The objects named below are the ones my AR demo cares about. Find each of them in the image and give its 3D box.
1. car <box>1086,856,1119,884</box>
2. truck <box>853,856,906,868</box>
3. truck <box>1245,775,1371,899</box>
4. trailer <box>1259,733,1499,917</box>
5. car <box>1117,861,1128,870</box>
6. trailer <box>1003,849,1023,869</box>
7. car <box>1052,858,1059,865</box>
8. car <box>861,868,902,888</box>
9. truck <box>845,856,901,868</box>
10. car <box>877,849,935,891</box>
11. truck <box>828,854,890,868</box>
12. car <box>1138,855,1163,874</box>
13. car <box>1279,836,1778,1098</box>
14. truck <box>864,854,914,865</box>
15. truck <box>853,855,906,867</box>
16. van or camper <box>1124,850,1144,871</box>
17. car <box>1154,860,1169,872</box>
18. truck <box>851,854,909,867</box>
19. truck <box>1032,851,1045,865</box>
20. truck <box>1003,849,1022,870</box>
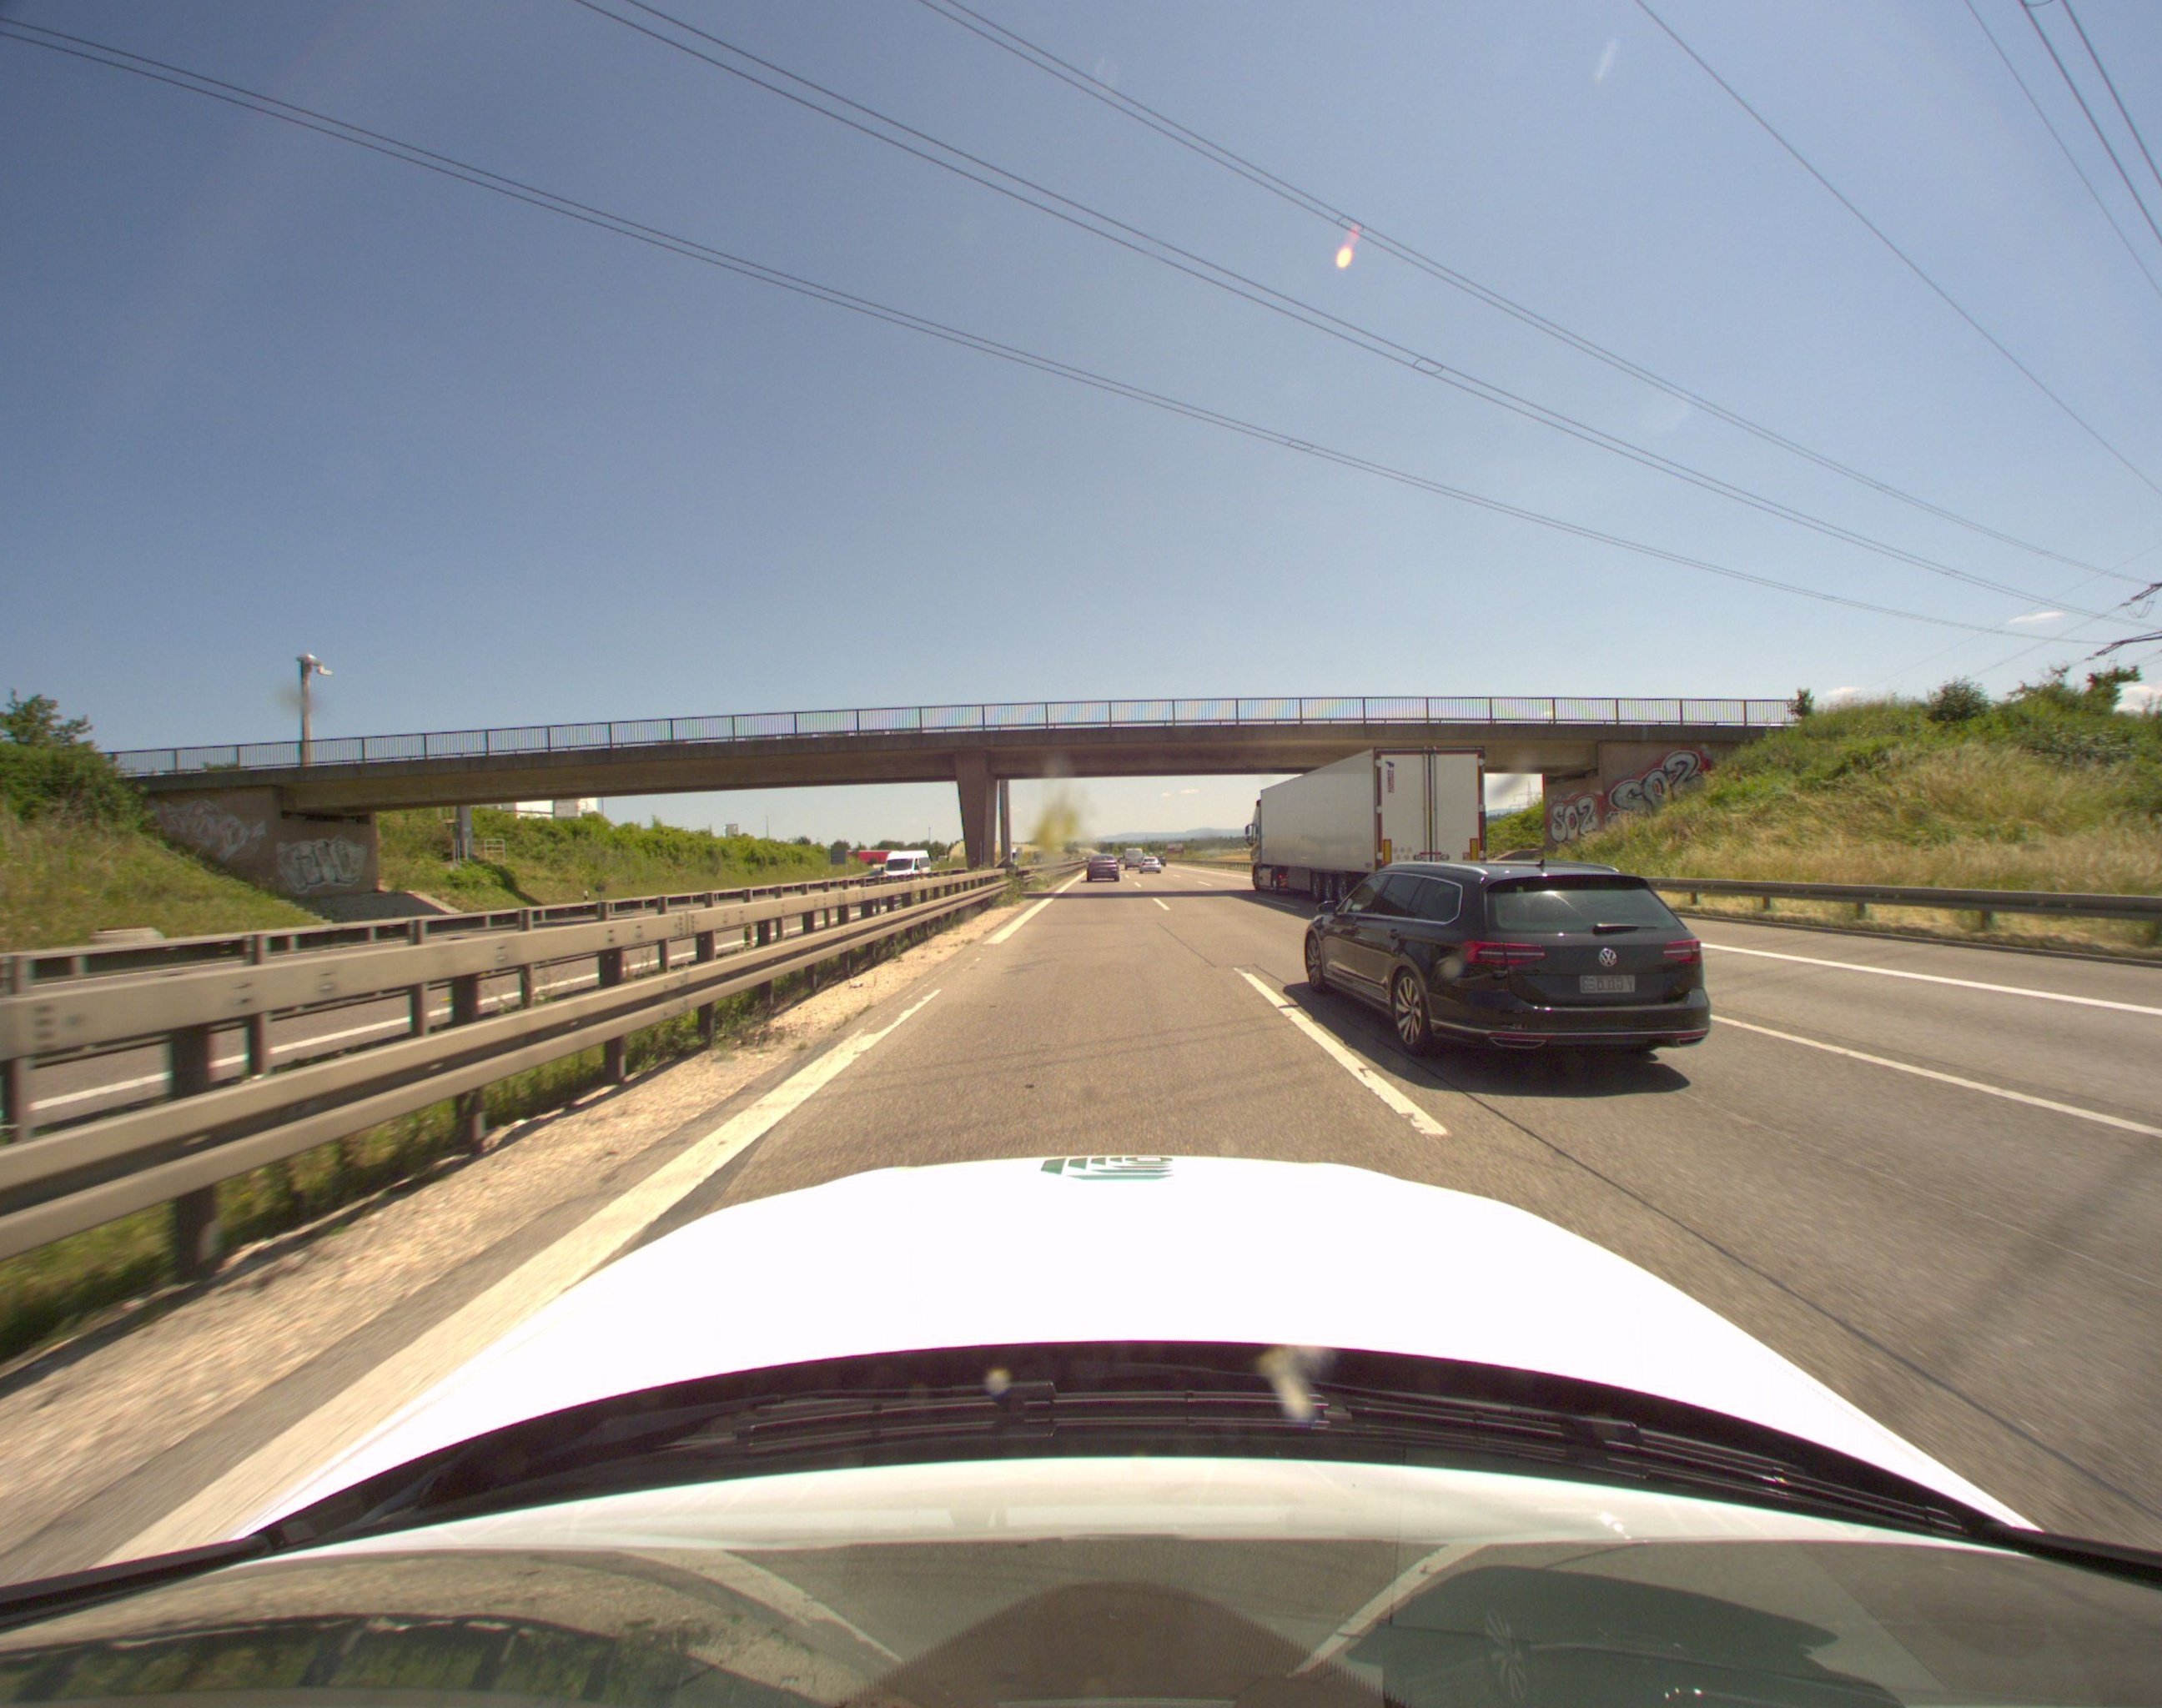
[{"bbox_3d":[1.267,0.962,49.742,1.846,1.664,3.733,0,0,-1],"label":"car"},{"bbox_3d":[-54.387,2.044,220.226,14.535,3.139,2.629,0,-1,-42],"label":"truck"},{"bbox_3d":[8.531,-0.569,31.699,2.968,4.228,7.690,0,0,2],"label":"truck"},{"bbox_3d":[8.318,-0.609,25.471,2.932,4.198,13.602,0,0,2],"label":"trailer"},{"bbox_3d":[7.891,2.193,155.663,1.986,1.683,4.002,0,0,2],"label":"car"},{"bbox_3d":[-12.386,0.949,149.524,2.683,3.625,8.618,0,0,2],"label":"trailer"},{"bbox_3d":[-6.549,1.967,209.389,1.543,1.664,4.226,0,0,-1],"label":"car"},{"bbox_3d":[-15.031,1.783,61.423,1.986,1.398,4.001,0,0,2],"label":"car"},{"bbox_3d":[-53.625,2.062,210.836,14.535,3.139,2.629,0,-1,-42],"label":"truck"},{"bbox_3d":[-11.199,0.985,52.768,2.191,2.509,6.333,0,0,2],"label":"car"},{"bbox_3d":[-52.371,1.578,192.833,14.535,3.139,2.629,0,-1,-42],"label":"truck"},{"bbox_3d":[6.099,0.910,71.894,1.986,1.683,4.002,0,0,2],"label":"car"},{"bbox_3d":[3.311,0.701,7.412,1.926,1.574,4.935,0,0,1],"label":"car"},{"bbox_3d":[-54.961,1.494,233.579,14.535,3.139,2.629,0,-1,-42],"label":"truck"},{"bbox_3d":[-55.249,1.919,224.087,14.535,3.139,2.629,0,-1,-42],"label":"truck"},{"bbox_3d":[5.861,0.687,90.420,2.102,2.211,5.267,0,0,2],"label":"van or camper"},{"bbox_3d":[11.538,1.701,116.982,1.986,1.683,4.002,0,0,2],"label":"car"},{"bbox_3d":[-50.071,1.640,203.637,14.535,3.139,2.629,0,-1,-42],"label":"truck"},{"bbox_3d":[-10.864,0.991,208.696,2.887,3.564,10.450,0,0,0],"label":"truck"},{"bbox_3d":[-12.523,0.992,148.991,2.729,3.679,5.900,0,-1,2],"label":"truck"}]
